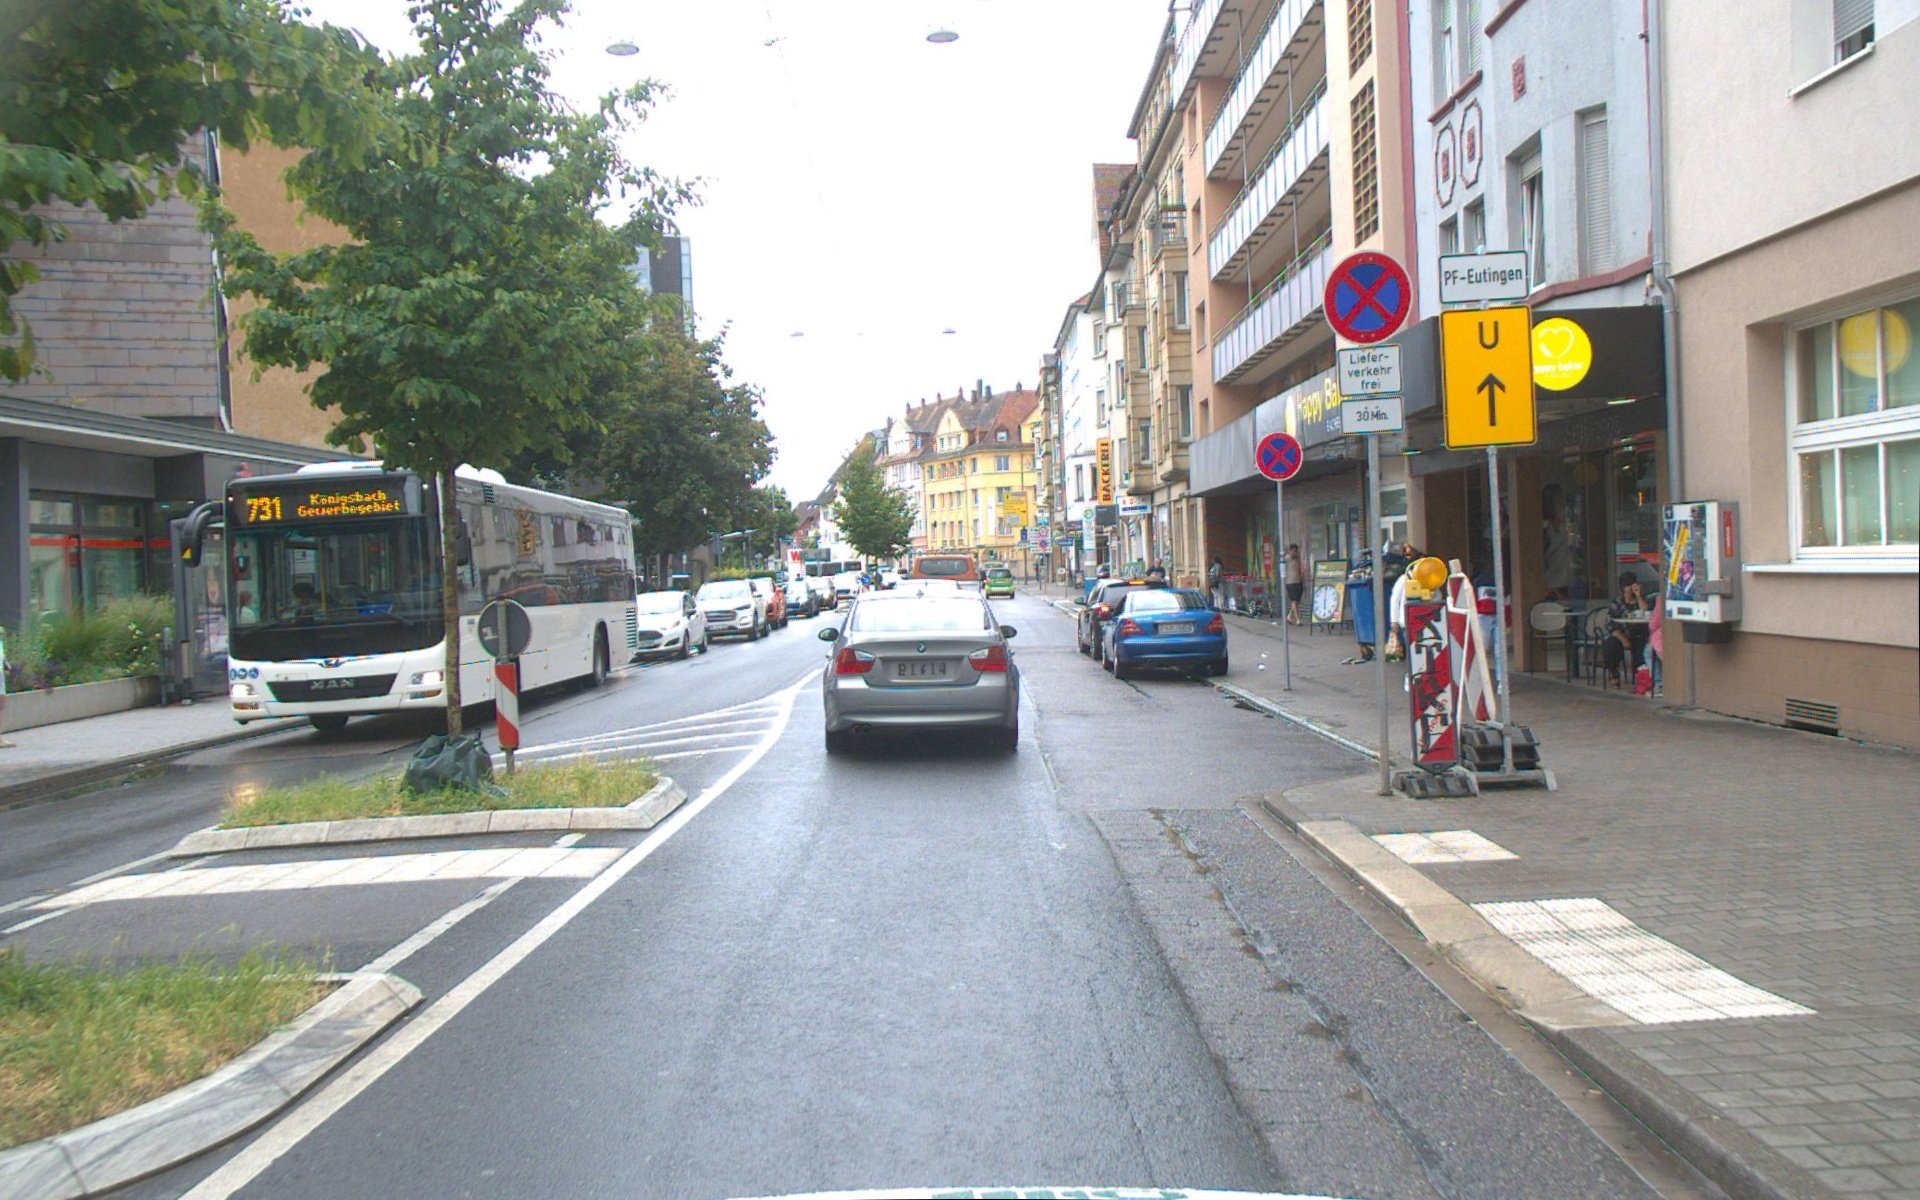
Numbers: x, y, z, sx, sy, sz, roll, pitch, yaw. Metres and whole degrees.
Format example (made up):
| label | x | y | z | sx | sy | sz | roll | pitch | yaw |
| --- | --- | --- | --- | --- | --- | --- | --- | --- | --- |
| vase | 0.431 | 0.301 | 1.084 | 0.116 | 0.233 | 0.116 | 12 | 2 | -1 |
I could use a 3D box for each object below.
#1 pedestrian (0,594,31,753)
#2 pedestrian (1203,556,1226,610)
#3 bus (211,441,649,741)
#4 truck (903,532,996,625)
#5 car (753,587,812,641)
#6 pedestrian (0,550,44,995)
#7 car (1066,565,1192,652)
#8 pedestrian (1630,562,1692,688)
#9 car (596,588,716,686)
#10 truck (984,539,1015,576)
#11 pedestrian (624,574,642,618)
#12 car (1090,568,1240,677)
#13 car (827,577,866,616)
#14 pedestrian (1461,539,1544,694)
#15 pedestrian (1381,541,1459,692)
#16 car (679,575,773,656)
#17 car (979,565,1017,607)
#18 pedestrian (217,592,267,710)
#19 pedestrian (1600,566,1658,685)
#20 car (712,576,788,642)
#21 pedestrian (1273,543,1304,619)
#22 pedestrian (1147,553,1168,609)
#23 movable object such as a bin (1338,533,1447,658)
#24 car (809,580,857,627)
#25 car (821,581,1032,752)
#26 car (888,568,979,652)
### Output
| label | x | y | z | sx | sy | sz | roll | pitch | yaw |
| --- | --- | --- | --- | --- | --- | --- | --- | --- | --- |
| pedestrian | -10.704 | 0.803 | 18.300 | 0.649 | 1.735 | 0.656 | 1 | -2 | -26 |
| pedestrian | 6.957 | -0.471 | 45.108 | 0.552 | 1.446 | 0.797 | 0 | -1 | 13 |
| bus | -6.926 | 0.018 | 24.114 | 2.626 | 3.257 | 11.952 | 1 | -1 | -1 |
| truck | -0.324 | -0.491 | 42.026 | 2.171 | 2.154 | 4.650 | 2 | -1 | -2 |
| car | -7.047 | 0.570 | 65.995 | 1.953 | 2.049 | 3.999 | 1 | -1 | -1 |
| pedestrian | -4.035 | 0.681 | 6.589 | 0.458 | 1.738 | 0.541 | -5 | 1 | -20 |
| car | 3.139 | 0.176 | 31.514 | 1.953 | 1.546 | 3.999 | 0 | -1 | -1 |
| pedestrian | 7.023 | 0.244 | 16.579 | 0.404 | 1.223 | 0.357 | -4 | 1 | 3 |
| car | -6.728 | 0.831 | 37.029 | 1.953 | 2.049 | 3.999 | 1 | -1 | -1 |
| truck | 3.023 | -3.234 | 126.498 | 2.171 | 2.589 | 4.779 | 1 | -1 | -1 |
| pedestrian | -15.555 | -0.184 | 78.739 | 0.783 | 2.049 | 0.534 | 1 | -1 | -13 |
| car | 3.095 | 0.304 | 25.694 | 1.772 | 1.545 | 3.999 | 1 | 0 | -1 |
| car | -6.359 | -0.167 | 93.350 | 1.953 | 2.049 | 3.999 | 1 | -1 | -1 |
| pedestrian | 6.043 | 0.187 | 18.459 | 0.734 | 1.690 | 0.755 | 1 | -1 | 6 |
| pedestrian | 5.263 | 0.194 | 18.967 | 0.733 | 1.690 | 0.837 | 1 | -1 | 6 |
| car | -6.259 | 0.436 | 44.610 | 1.953 | 2.049 | 3.999 | 2 | -1 | -1 |
| car | 1.919 | -0.700 | 84.913 | 1.671 | 2.049 | 3.998 | 1 | -1 | -2 |
| pedestrian | -10.732 | 0.757 | 24.741 | 0.532 | 1.739 | 0.465 | 1 | -1 | -6 |
| pedestrian | 7.130 | 0.267 | 17.635 | 0.404 | 1.223 | 0.357 | -4 | 1 | 3 |
| car | -6.769 | 0.327 | 53.615 | 1.953 | 2.049 | 3.999 | 1 | -1 | -1 |
| pedestrian | 7.414 | -0.421 | 37.335 | 0.602 | 1.690 | 0.755 | 1 | -1 | 6 |
| pedestrian | 5.243 | -0.501 | 43.920 | 0.511 | 1.446 | 0.430 | 1 | -1 | 9 |
| movable object such as a bin | 6.354 | -0.055 | 24.377 | 1.100 | 1.732 | 1.433 | -3 | -1 | -2 |
| car | -5.861 | 0.197 | 76.627 | 1.953 | 2.049 | 3.999 | 1 | -1 | -1 |
| car | -0.268 | 0.534 | 15.146 | 1.720 | 1.386 | 3.165 | -1 | 0 | 0 |
| car | -0.518 | 0.212 | 30.686 | 1.569 | 1.445 | 3.286 | 1 | -1 | -2 |
